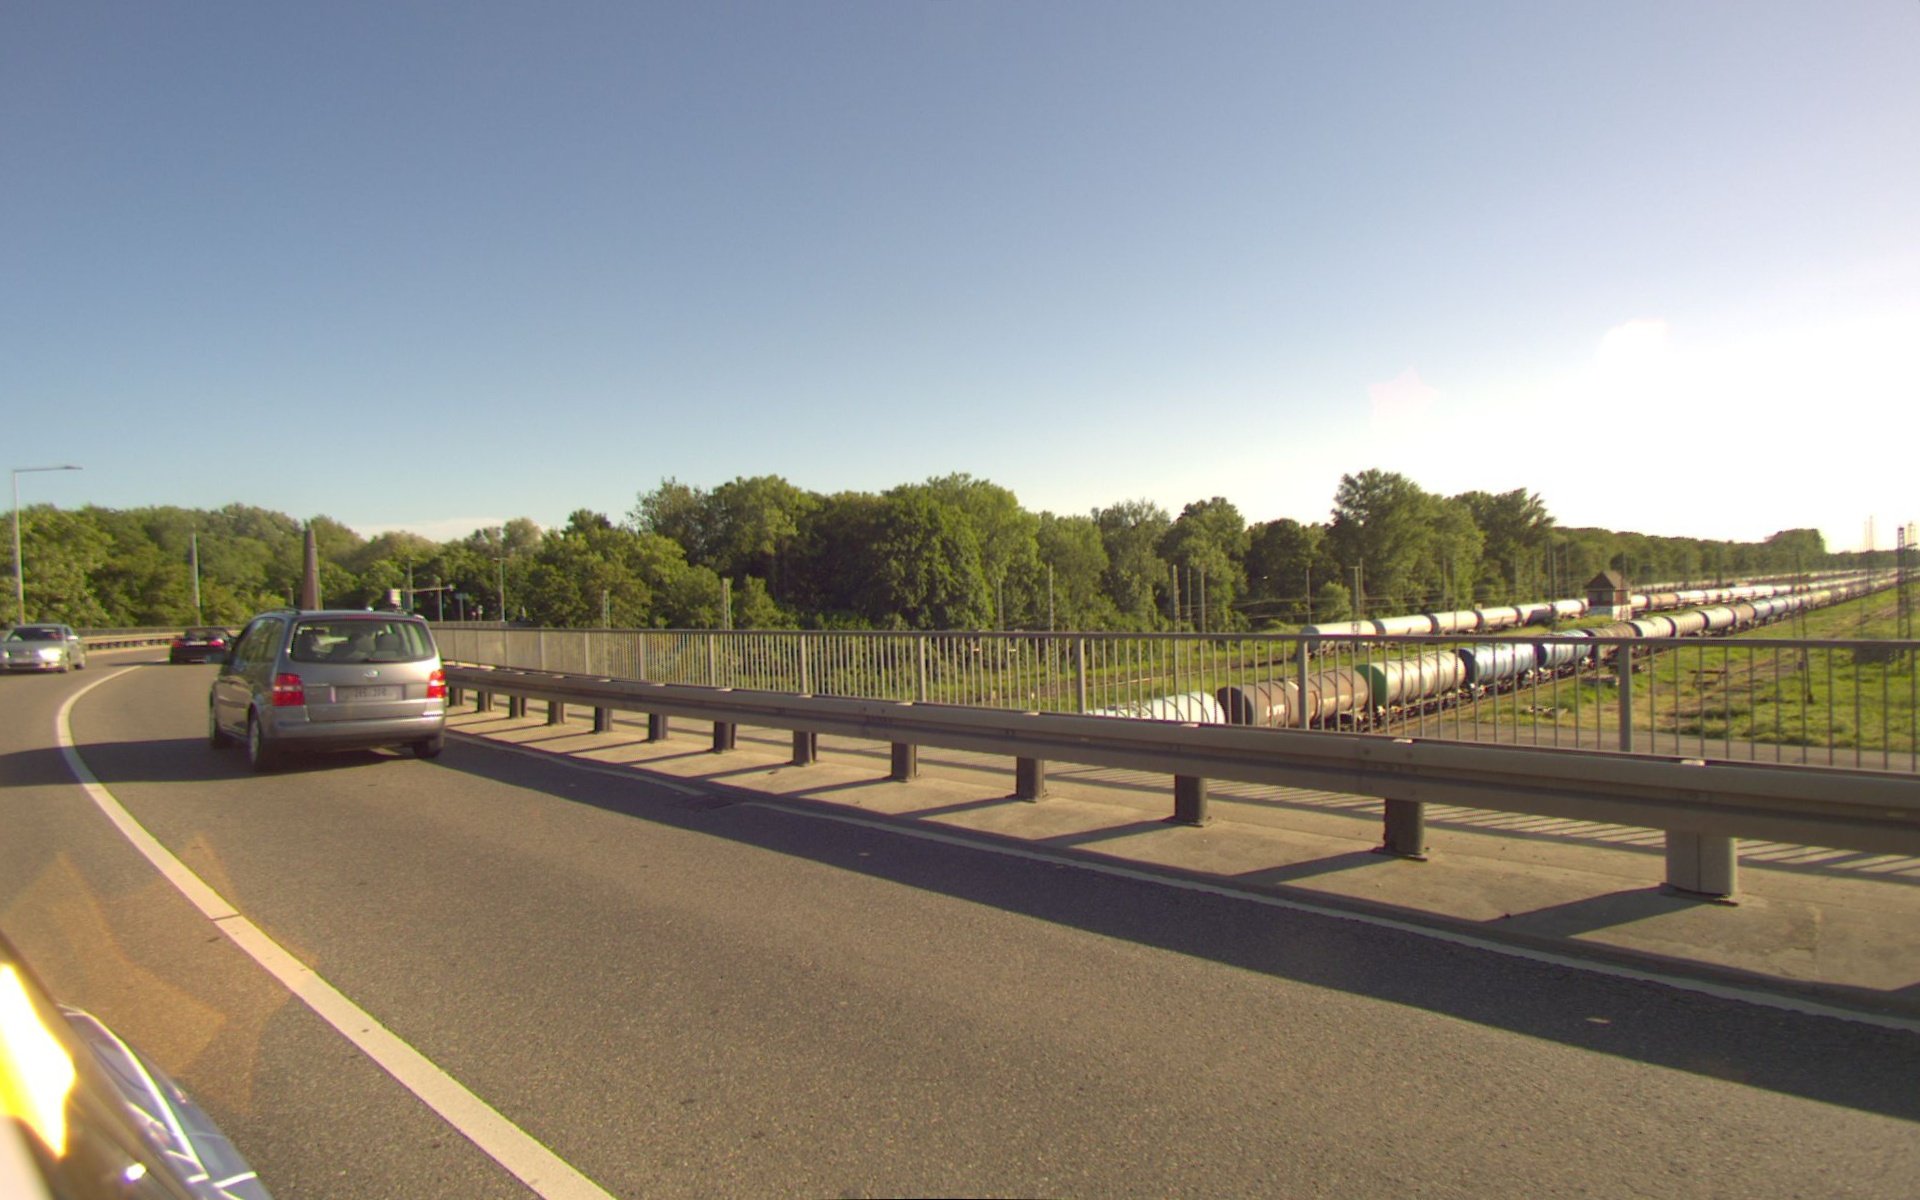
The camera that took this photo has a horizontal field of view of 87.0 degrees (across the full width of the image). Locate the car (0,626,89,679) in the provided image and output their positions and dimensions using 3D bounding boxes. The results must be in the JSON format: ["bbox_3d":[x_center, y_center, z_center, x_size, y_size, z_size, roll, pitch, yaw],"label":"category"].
[{"bbox_3d":[-27.782,1.534,30.470,1.736,1.447,4.342,0,-1,-32],"label":"car"}]

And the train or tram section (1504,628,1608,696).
[{"bbox_3d":[55.525,5.534,93.943,16.257,5.561,3.909,0,-1,-44],"label":"train or tram section"}]

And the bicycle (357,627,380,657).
[{"bbox_3d":[-22.108,1.564,37.834,0.644,1.073,1.896,0,-1,-27],"label":"bicycle"}]

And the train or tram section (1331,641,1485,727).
[{"bbox_3d":[32.001,5.624,71.552,16.417,5.055,3.909,0,-1,-44],"label":"train or tram section"}]

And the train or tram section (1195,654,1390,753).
[{"bbox_3d":[20.218,5.833,60.338,16.067,4.626,3.909,0,-1,-44],"label":"train or tram section"}]

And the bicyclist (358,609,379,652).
[{"bbox_3d":[-22.146,1.127,37.907,0.644,1.601,0.770,0,-1,-27],"label":"bicyclist"}]

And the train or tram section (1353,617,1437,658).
[{"bbox_3d":[59.733,5.001,138.358,17.919,5.125,4.052,0,-1,-45],"label":"train or tram section"}]

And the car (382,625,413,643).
[{"bbox_3d":[-54.273,3.269,97.719,1.890,1.630,3.753,0,-1,-16],"label":"car"}]

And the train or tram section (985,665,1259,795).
[{"bbox_3d":[8.432,5.831,49.096,16.517,4.626,3.909,0,-1,-44],"label":"train or tram section"}]

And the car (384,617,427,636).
[{"bbox_3d":[-78.738,3.786,143.773,5.660,2.518,2.102,-3,-2,19],"label":"car"}]

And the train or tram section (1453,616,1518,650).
[{"bbox_3d":[84.960,5.156,163.213,17.603,5.125,4.052,0,-1,-45],"label":"train or tram section"}]

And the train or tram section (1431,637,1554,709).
[{"bbox_3d":[43.794,5.709,82.760,16.121,5.055,3.909,0,-1,-44],"label":"train or tram section"}]

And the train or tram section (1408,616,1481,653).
[{"bbox_3d":[72.381,5.079,150.847,17.603,5.125,4.052,0,-1,-45],"label":"train or tram section"}]

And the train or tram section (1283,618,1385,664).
[{"bbox_3d":[46.564,4.920,125.360,19.066,5.125,4.052,0,-1,-45],"label":"train or tram section"}]

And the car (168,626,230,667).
[{"bbox_3d":[-27.784,1.660,37.031,1.722,1.365,4.192,0,-1,-36],"label":"car"}]

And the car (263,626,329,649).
[{"bbox_3d":[-45.562,2.544,69.561,1.965,1.484,4.132,-1,-1,-3],"label":"car"}]

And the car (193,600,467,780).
[{"bbox_3d":[-7.171,0.863,11.343,1.827,1.635,4.106,0,-1,-44],"label":"car"}]
